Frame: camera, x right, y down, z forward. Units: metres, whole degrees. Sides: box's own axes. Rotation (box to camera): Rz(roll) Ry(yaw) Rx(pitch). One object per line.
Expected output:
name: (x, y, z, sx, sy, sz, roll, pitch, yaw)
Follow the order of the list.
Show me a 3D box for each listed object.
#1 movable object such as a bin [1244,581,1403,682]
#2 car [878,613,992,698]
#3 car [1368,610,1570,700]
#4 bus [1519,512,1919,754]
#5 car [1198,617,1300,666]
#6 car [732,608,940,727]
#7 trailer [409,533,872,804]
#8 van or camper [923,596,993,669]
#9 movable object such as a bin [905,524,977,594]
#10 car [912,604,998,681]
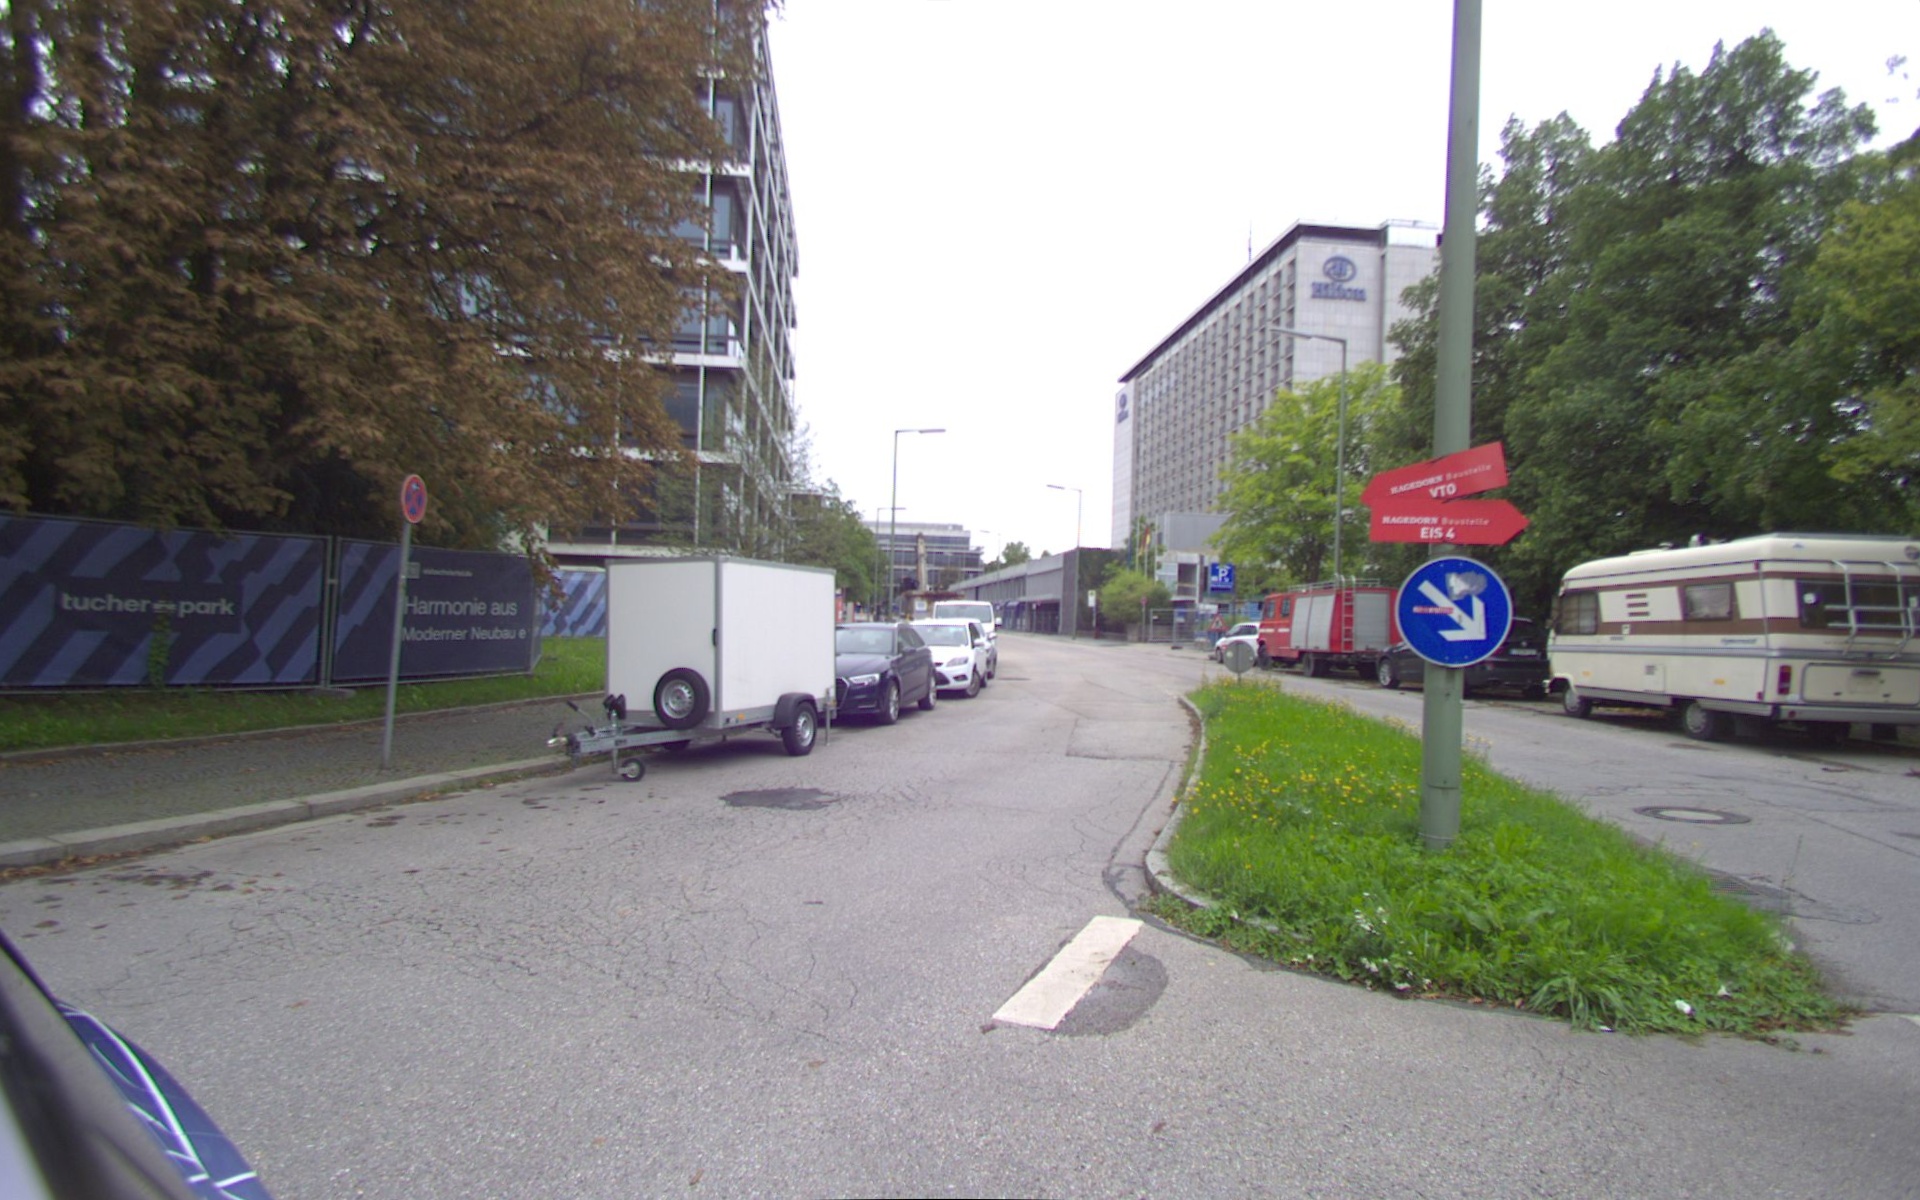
movable object such as a bin: (10.007, 0.834, 28.532, 2.081, 2.477, 6.187, 2, -1, -1)
car: (-0.400, 1.051, 20.613, 1.751, 1.497, 4.212, 1, -1, 6)
car: (10.602, 1.078, 21.499, 1.755, 1.662, 4.464, 2, -1, -4)
bus: (10.555, 0.426, 14.372, 2.292, 2.719, 5.727, 1, -1, 4)
car: (9.954, 1.395, 35.190, 1.753, 1.561, 4.265, 2, -1, -8)
car: (-1.671, 0.913, 15.232, 1.858, 1.448, 4.313, 2, -1, 10)
trailer: (-2.770, 0.531, 10.159, 1.802, 2.029, 4.799, 1, -1, 21)
van or camper: (-0.102, 0.950, 31.759, 1.971, 2.029, 5.377, 1, 0, -1)
movable object such as a bin: (-1.292, -2.320, 61.042, 3.200, 3.745, 9.023, 2, 0, -7)
car: (-0.091, 1.012, 25.946, 1.972, 1.741, 4.448, 1, 0, 1)
